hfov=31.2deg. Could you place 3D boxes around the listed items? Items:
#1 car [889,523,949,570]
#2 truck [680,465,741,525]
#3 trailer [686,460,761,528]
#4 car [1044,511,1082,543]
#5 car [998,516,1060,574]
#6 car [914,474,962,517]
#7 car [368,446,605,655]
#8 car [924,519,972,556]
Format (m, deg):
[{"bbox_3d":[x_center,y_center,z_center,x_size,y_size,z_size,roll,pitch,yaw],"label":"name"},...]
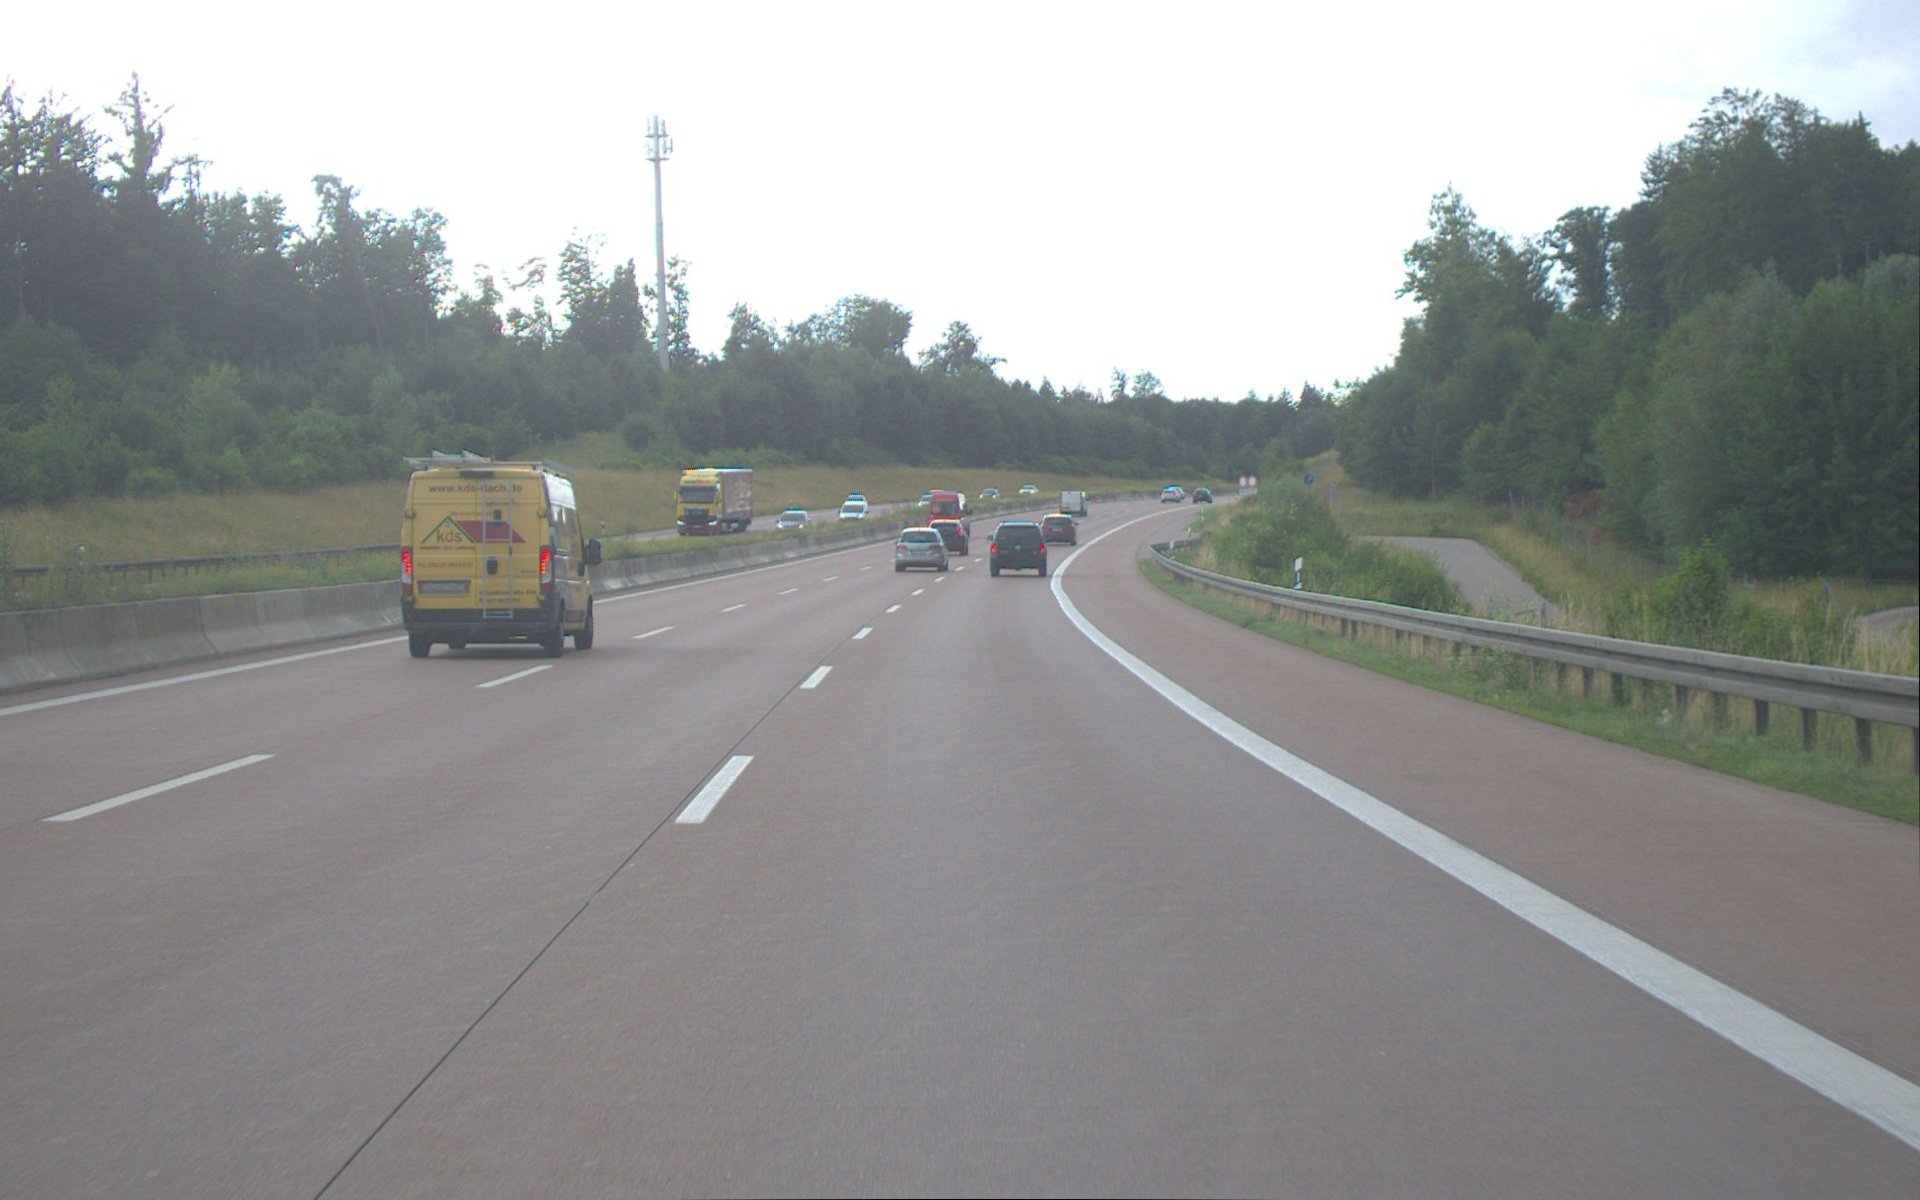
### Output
[{"bbox_3d":[-1.464,-1.946,124.670,1.978,1.642,4.619,0,1,1],"label":"car"},{"bbox_3d":[-15.551,-6.508,214.679,3.012,3.570,6.057,1,1,3],"label":"truck"},{"bbox_3d":[-15.164,-6.778,221.486,3.033,4.028,14.530,1,1,3],"label":"trailer"},{"bbox_3d":[5.481,-3.860,182.958,1.978,1.642,4.619,0,1,2],"label":"car"},{"bbox_3d":[2.370,-1.877,117.151,2.044,1.890,5.577,0,1,1],"label":"car"},{"bbox_3d":[-1.251,-6.071,200.530,2.241,2.421,6.204,2,2,4],"label":"car"},{"bbox_3d":[-6.454,-0.685,47.586,2.458,2.697,5.614,0,1,0],"label":"car"},{"bbox_3d":[-0.517,-2.858,157.224,1.978,1.642,4.619,0,1,2],"label":"car"}]
